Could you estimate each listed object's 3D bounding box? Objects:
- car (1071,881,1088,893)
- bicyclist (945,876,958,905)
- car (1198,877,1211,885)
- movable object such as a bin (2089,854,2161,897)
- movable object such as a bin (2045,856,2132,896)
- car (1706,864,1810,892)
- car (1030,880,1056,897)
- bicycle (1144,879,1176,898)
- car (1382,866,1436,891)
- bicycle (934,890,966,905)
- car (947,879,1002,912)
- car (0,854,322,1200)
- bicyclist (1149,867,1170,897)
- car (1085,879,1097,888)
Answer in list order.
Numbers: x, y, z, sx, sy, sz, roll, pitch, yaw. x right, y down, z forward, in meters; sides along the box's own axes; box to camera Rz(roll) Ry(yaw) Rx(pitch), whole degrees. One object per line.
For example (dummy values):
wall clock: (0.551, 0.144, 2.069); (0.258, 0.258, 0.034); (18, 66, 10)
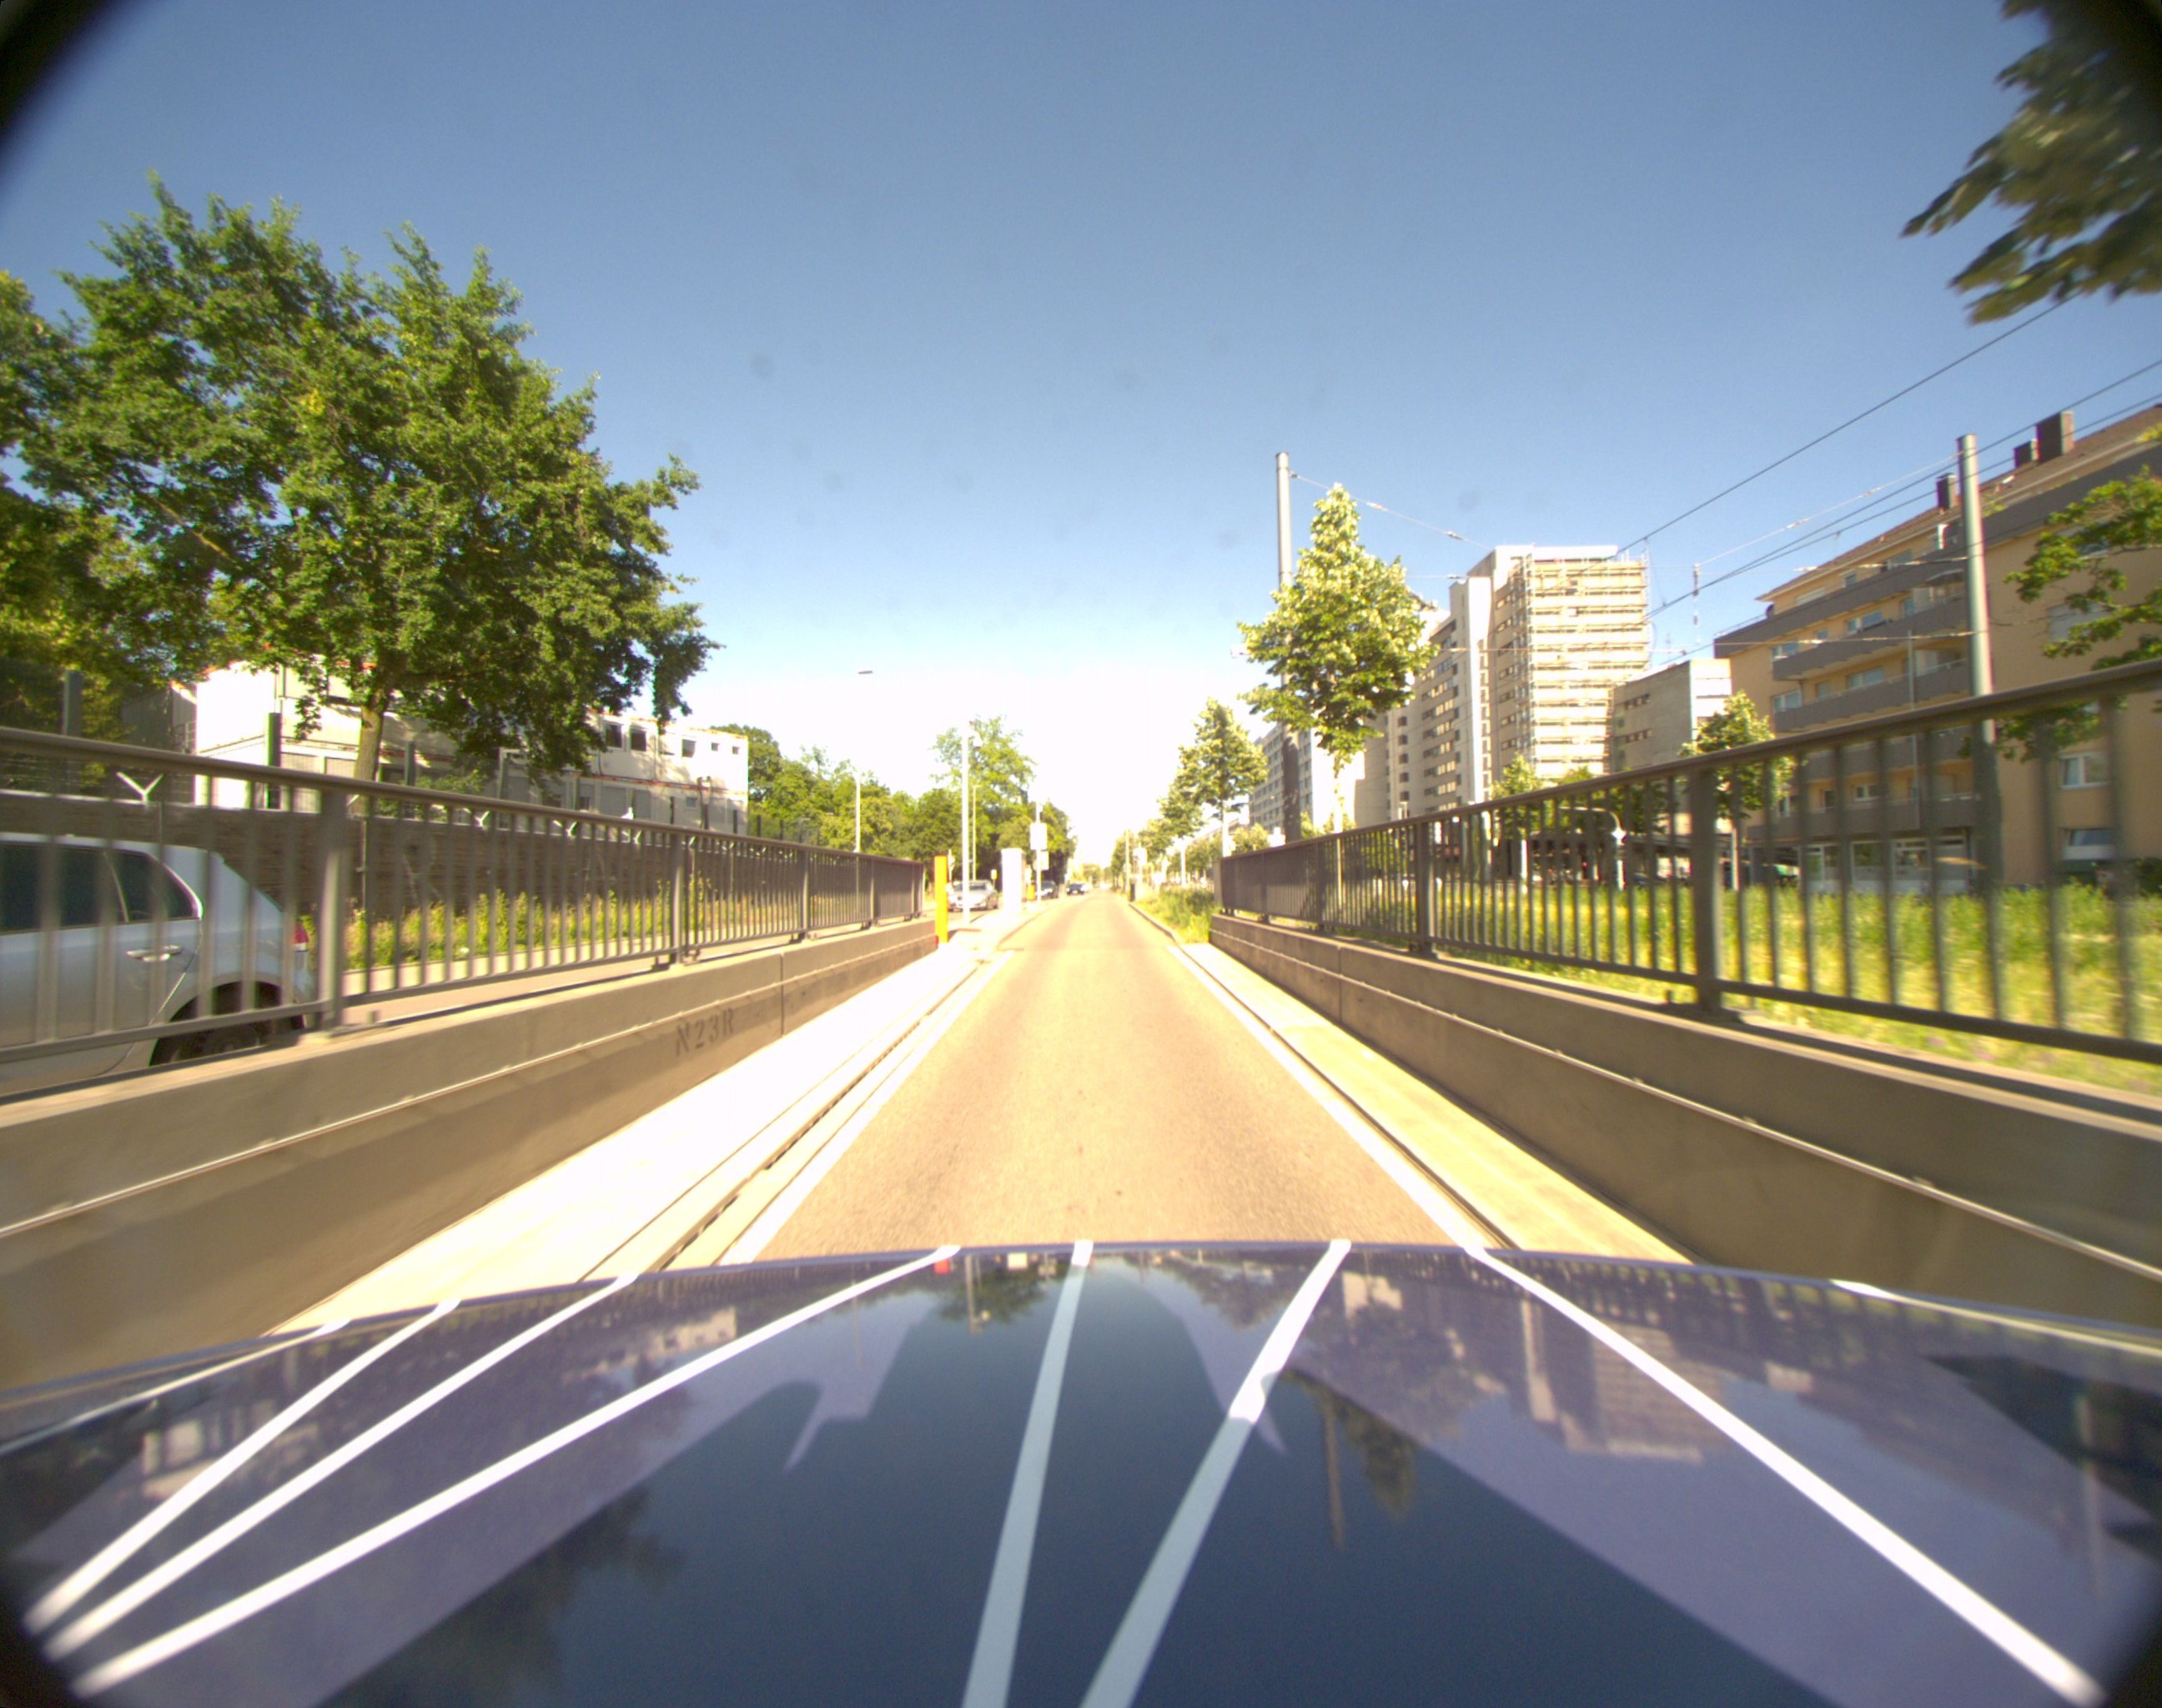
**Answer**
car: (-0.148, 3.863, 90.376); (1.829, 1.327, 4.002); (-1, -2, 2)
bicyclist: (-7.892, 2.219, 46.362); (0.700, 1.699, 0.659); (2, -2, -10)
car: (25.583, 5.503, 157.279); (1.914, 1.561, 4.596); (-1, -2, 0)
movable object such as a bin: (35.602, 0.721, 25.670); (1.266, 1.391, 1.327); (-3, -1, 5)
movable object such as a bin: (35.770, 0.770, 27.000); (1.267, 1.362, 1.327); (-1, -2, 1)
car: (42.395, 1.498, 47.692); (4.652, 1.583, 2.015); (-1, -2, 1)
car: (-3.098, 2.838, 63.072); (1.829, 1.327, 4.002); (-1, -2, 2)
bicycle: (4.512, 1.971, 43.660); (0.726, 1.049, 1.978); (-2, 0, -33)
car: (22.879, 1.711, 53.078); (1.745, 1.592, 4.000); (-1, -2, -5)
bicycle: (-7.995, 2.662, 46.314); (1.862, 0.896, 0.492); (2, -2, -10)
car: (-4.859, 1.858, 35.137); (1.838, 1.393, 4.301); (-1, -2, 1)
car: (-5.315, 0.726, 2.468); (1.671, 1.426, 3.974); (-2, -1, 1)
bicyclist: (4.511, 1.623, 43.656); (0.861, 1.676, 0.818); (0, -2, -33)
car: (1.527, 4.463, 115.064); (1.829, 1.327, 4.002); (-1, -2, 2)
